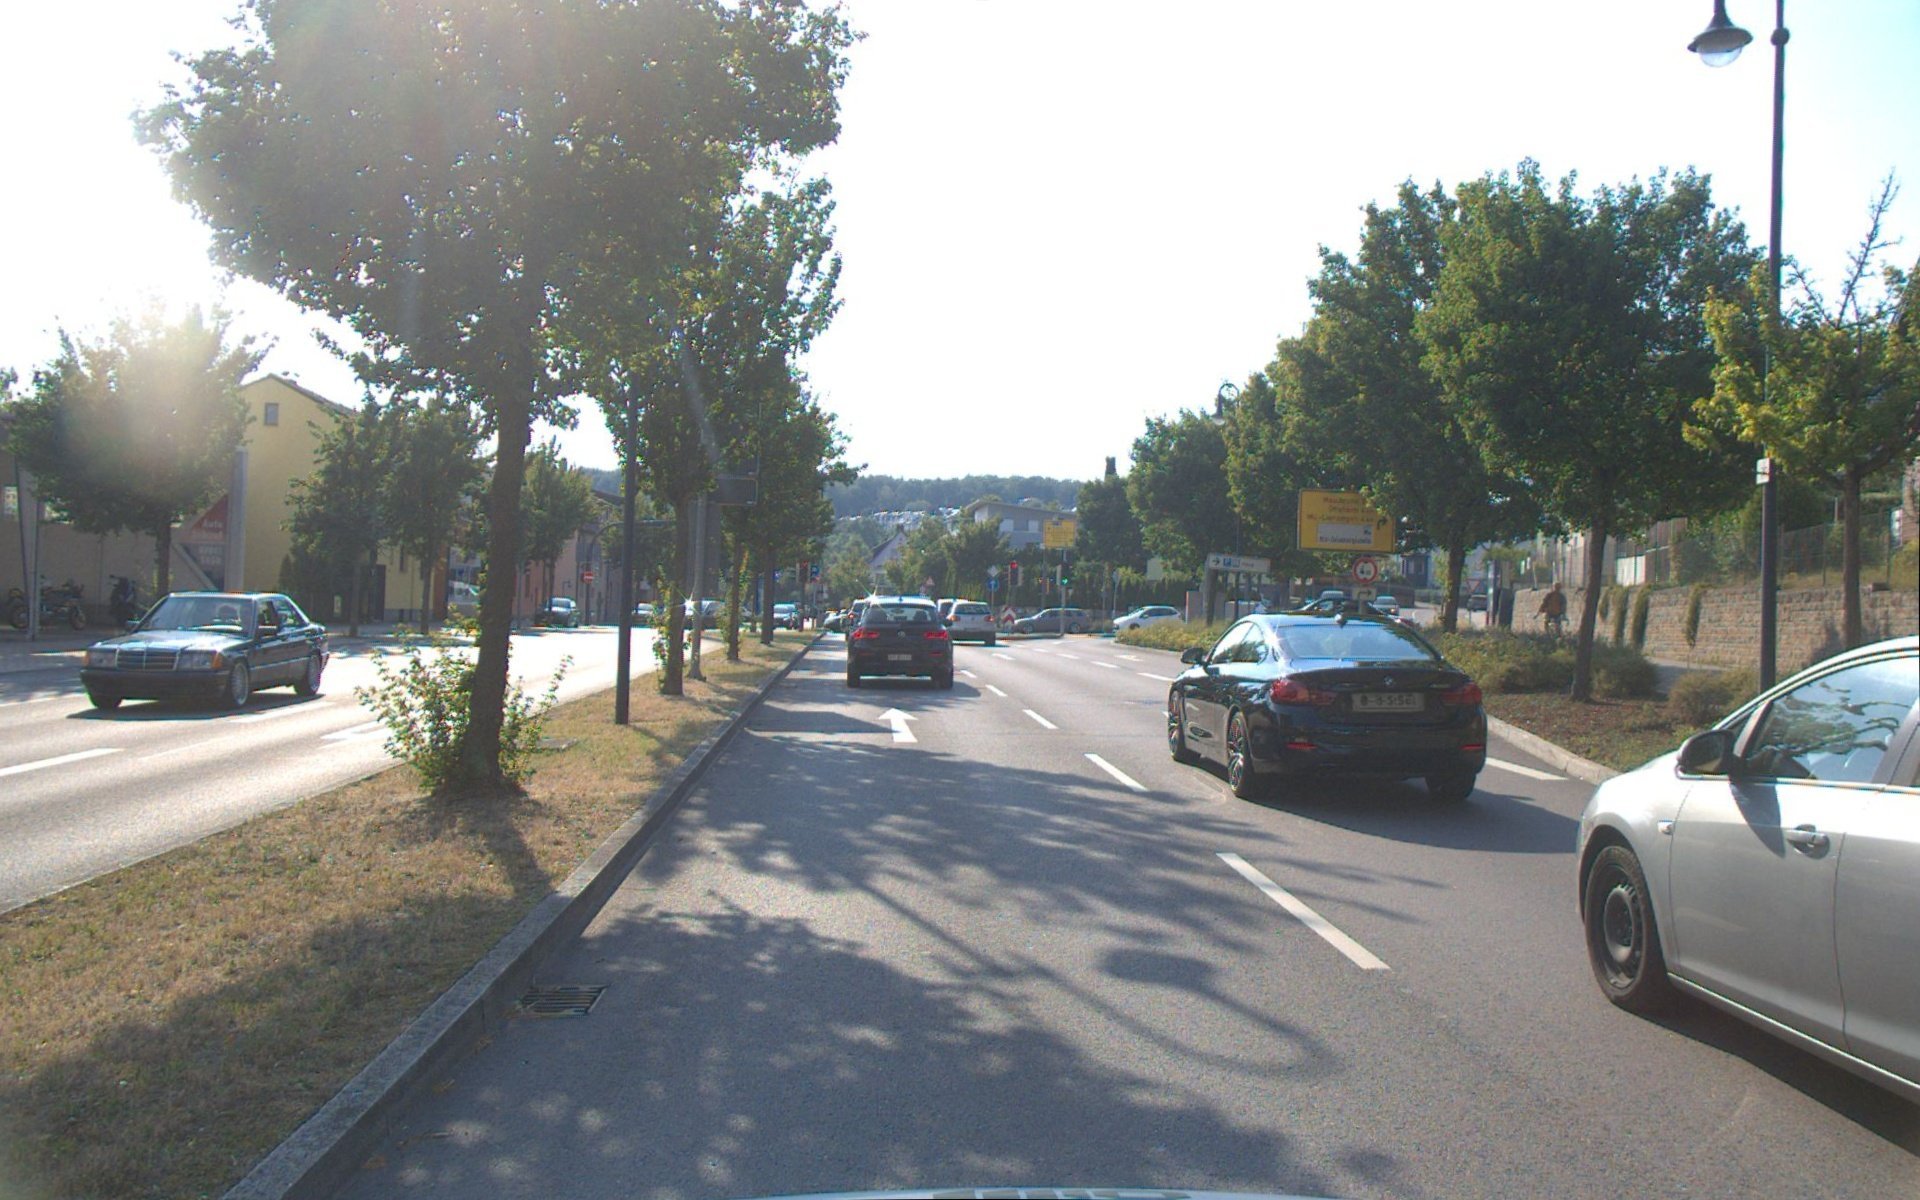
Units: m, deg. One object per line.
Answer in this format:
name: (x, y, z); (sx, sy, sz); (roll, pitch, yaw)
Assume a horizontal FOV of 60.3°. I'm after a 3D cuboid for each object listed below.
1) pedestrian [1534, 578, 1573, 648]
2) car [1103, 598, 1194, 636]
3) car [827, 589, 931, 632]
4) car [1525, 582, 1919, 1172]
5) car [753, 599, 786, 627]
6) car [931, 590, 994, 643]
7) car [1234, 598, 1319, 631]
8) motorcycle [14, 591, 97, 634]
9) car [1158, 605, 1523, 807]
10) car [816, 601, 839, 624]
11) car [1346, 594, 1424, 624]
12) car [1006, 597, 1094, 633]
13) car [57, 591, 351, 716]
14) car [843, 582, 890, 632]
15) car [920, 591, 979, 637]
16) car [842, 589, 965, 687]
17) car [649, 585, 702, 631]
pedestrian: (14.908, 0.315, 41.565); (0.681, 1.732, 0.950); (1, 0, 4)
car: (10.290, 0.917, 90.465); (4.460, 1.963, 2.138); (1, 0, -15)
car: (-4.245, 0.570, 86.951); (5.039, 2.167, 2.131); (1, 0, -23)
car: (3.314, 0.721, 4.891); (1.686, 1.516, 4.305); (0, 1, -2)
car: (-11.819, 0.799, 102.819); (1.695, 1.708, 3.998); (1, 0, -2)
car: (0.052, 0.544, 58.486); (1.887, 1.800, 4.451); (1, 0, -4)
car: (18.746, 0.864, 98.062); (4.542, 1.861, 1.997); (1, 0, -7)
motorcycle: (-23.301, 0.322, 42.649); (0.506, 1.088, 1.865); (1, 0, 32)
car: (2.937, 0.753, 13.791); (1.882, 1.388, 4.351); (1, 0, -3)
car: (-12.084, 1.110, 151.470); (1.736, 2.049, 4.000); (1, 0, 0)
car: (27.666, 0.588, 107.766); (4.542, 1.861, 1.997); (1, 0, -7)
car: (5.162, 0.827, 95.071); (4.848, 1.963, 2.146); (1, 0, -2)
car: (-9.333, 0.591, 20.856); (1.720, 1.385, 4.483); (1, 0, -1)
car: (-3.562, 0.247, 62.568); (1.721, 1.800, 3.968); (1, 0, -4)
car: (-0.491, 0.560, 69.001); (2.173, 1.800, 4.451); (1, 0, -4)
car: (-0.883, 0.584, 28.206); (1.685, 1.516, 4.355); (1, 0, 3)
car: (-13.165, 0.326, 76.833); (2.098, 2.044, 5.118); (1, 0, -6)
